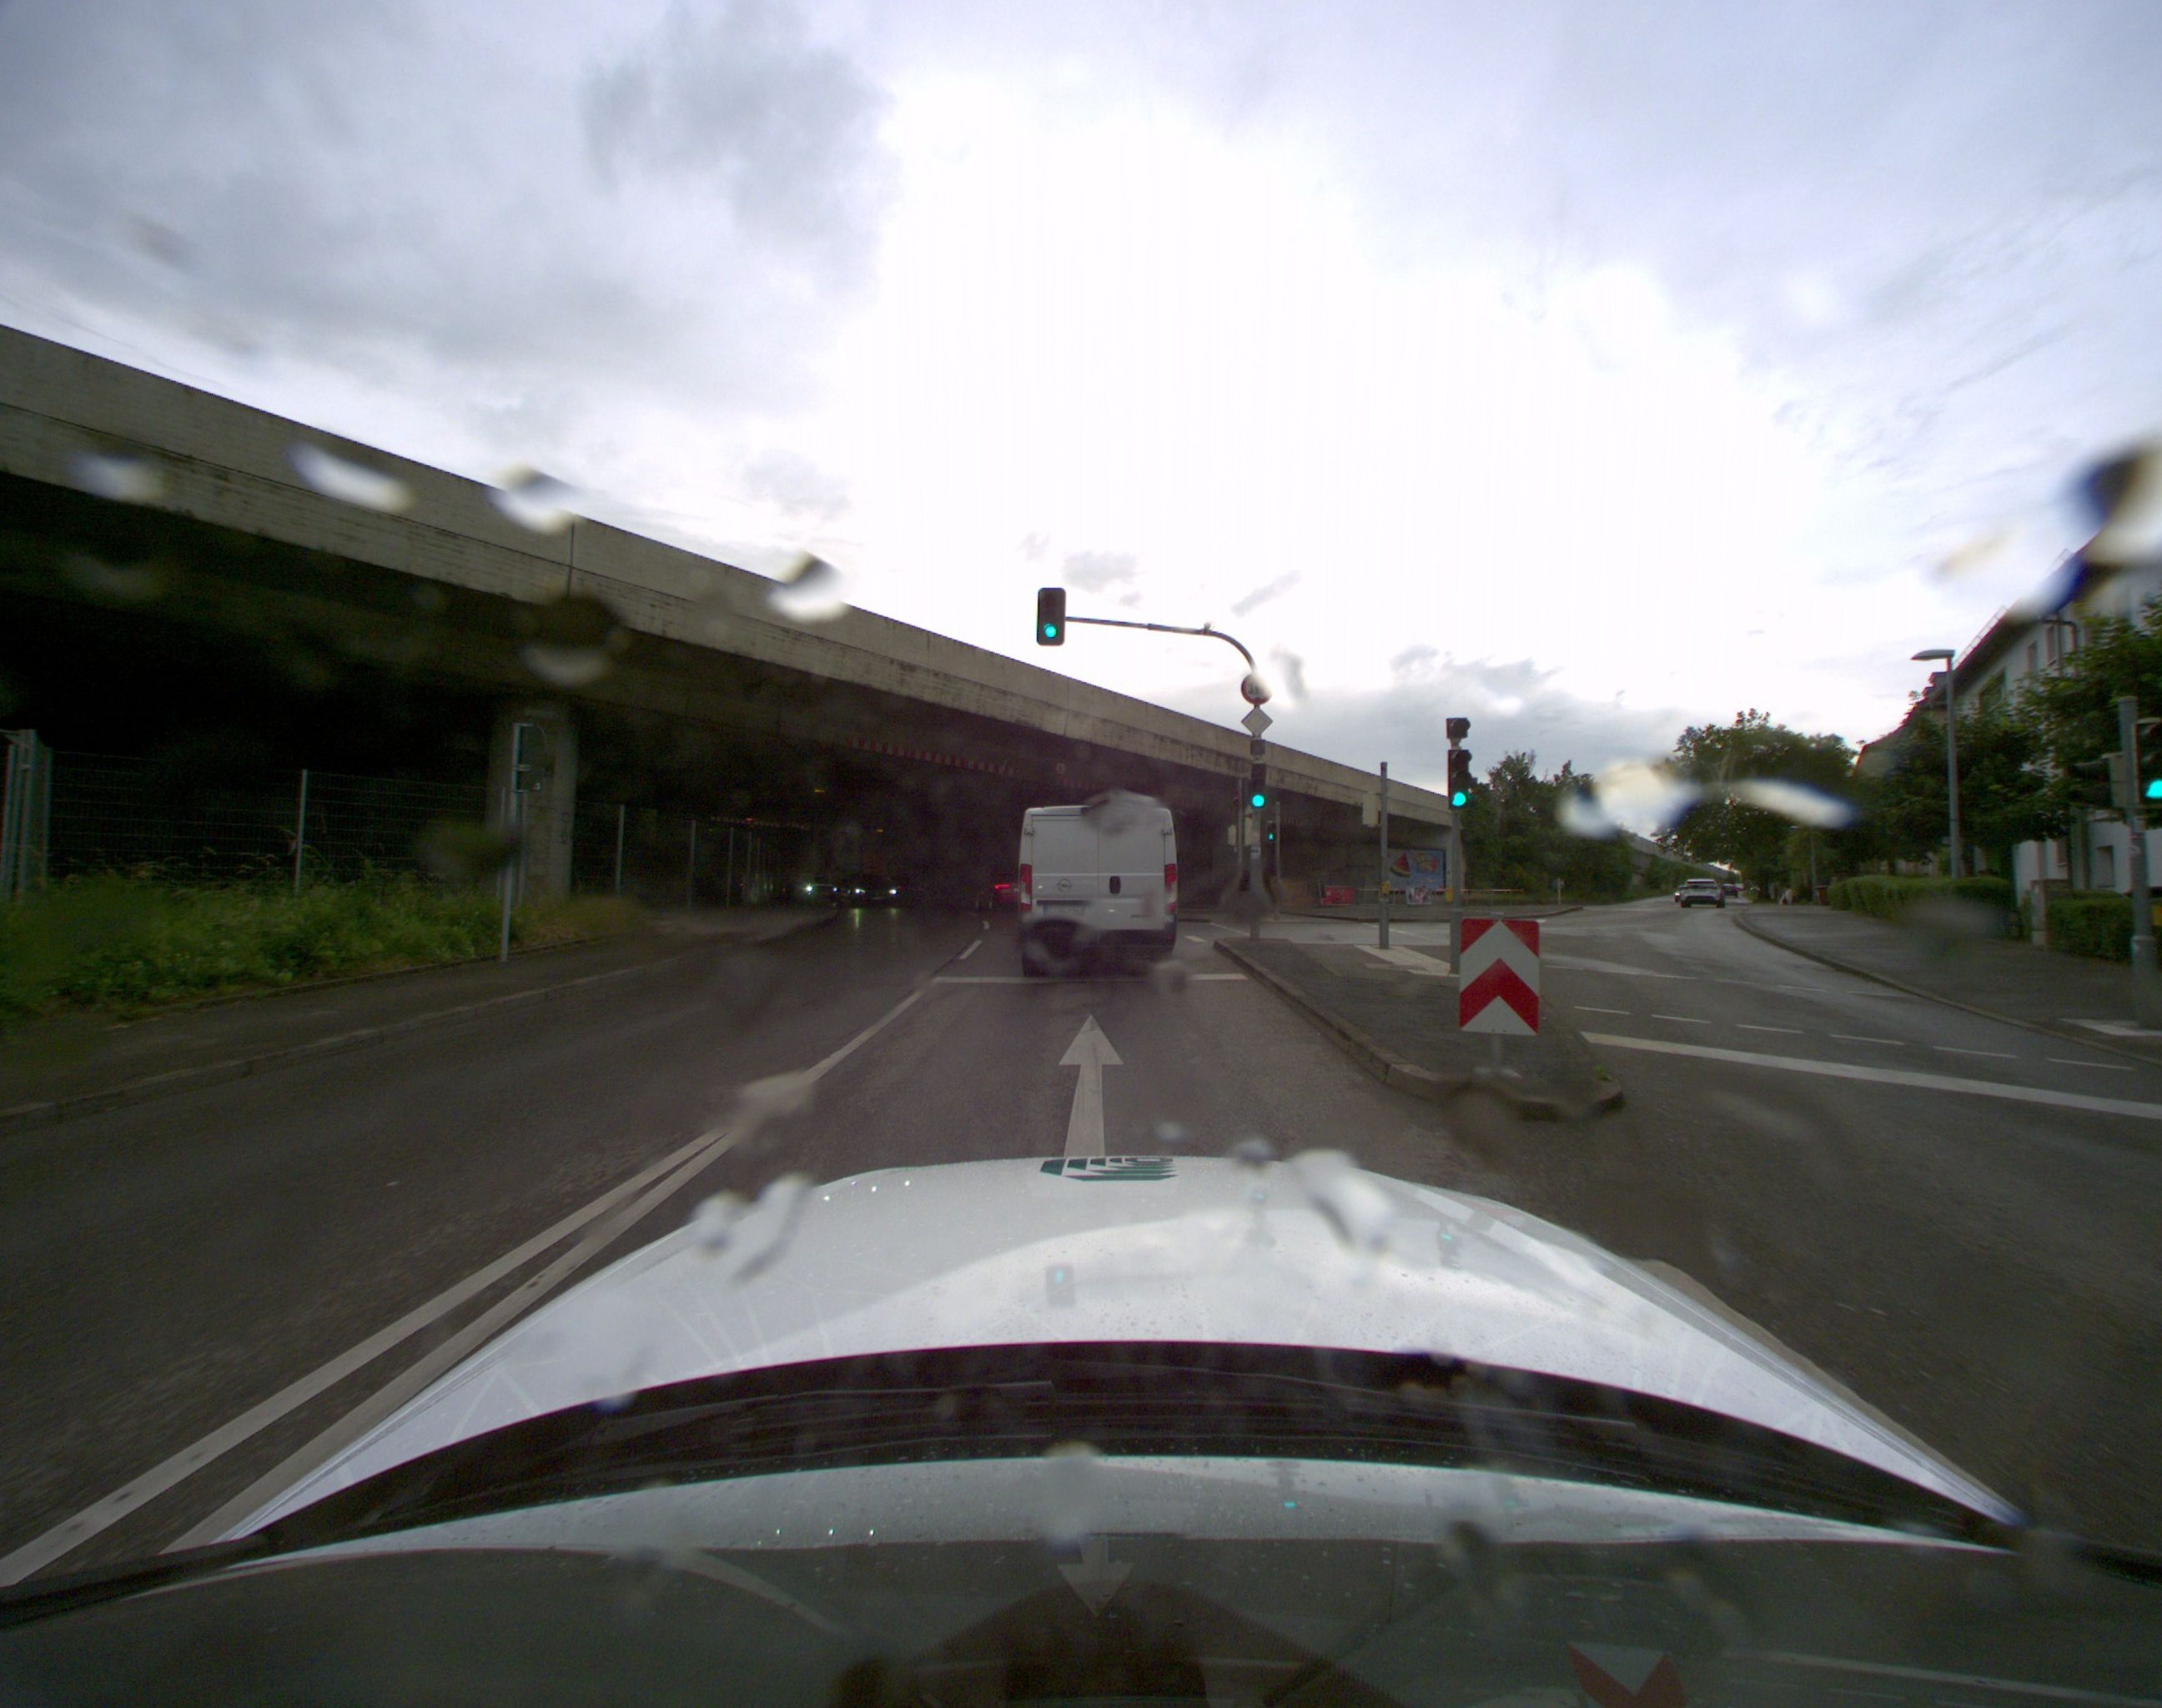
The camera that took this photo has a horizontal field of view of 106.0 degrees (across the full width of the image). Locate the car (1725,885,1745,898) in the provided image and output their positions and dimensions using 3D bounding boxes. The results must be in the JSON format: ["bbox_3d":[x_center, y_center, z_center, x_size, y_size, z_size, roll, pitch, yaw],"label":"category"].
[{"bbox_3d":[82.234,4.717,102.411,1.857,1.530,4.025,0,-1,37],"label":"car"}]

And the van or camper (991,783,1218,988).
[{"bbox_3d":[0.366,0.395,12.232,2.688,2.417,4.905,1,-1,2],"label":"van or camper"}]

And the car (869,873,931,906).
[{"bbox_3d":[-9.779,1.883,43.735,2.006,1.530,4.276,2,0,-31],"label":"car"}]

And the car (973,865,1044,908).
[{"bbox_3d":[-2.753,1.194,29.969,1.840,1.439,4.079,1,-2,-16],"label":"car"}]

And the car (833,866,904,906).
[{"bbox_3d":[-9.306,1.336,35.436,2.005,1.530,4.459,2,0,-28],"label":"car"}]

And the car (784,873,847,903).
[{"bbox_3d":[-13.941,1.779,42.583,2.008,1.465,4.060,2,-3,-35],"label":"car"}]

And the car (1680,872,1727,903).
[{"bbox_3d":[33.640,1.774,43.979,1.857,1.530,4.025,0,-1,40],"label":"car"}]
